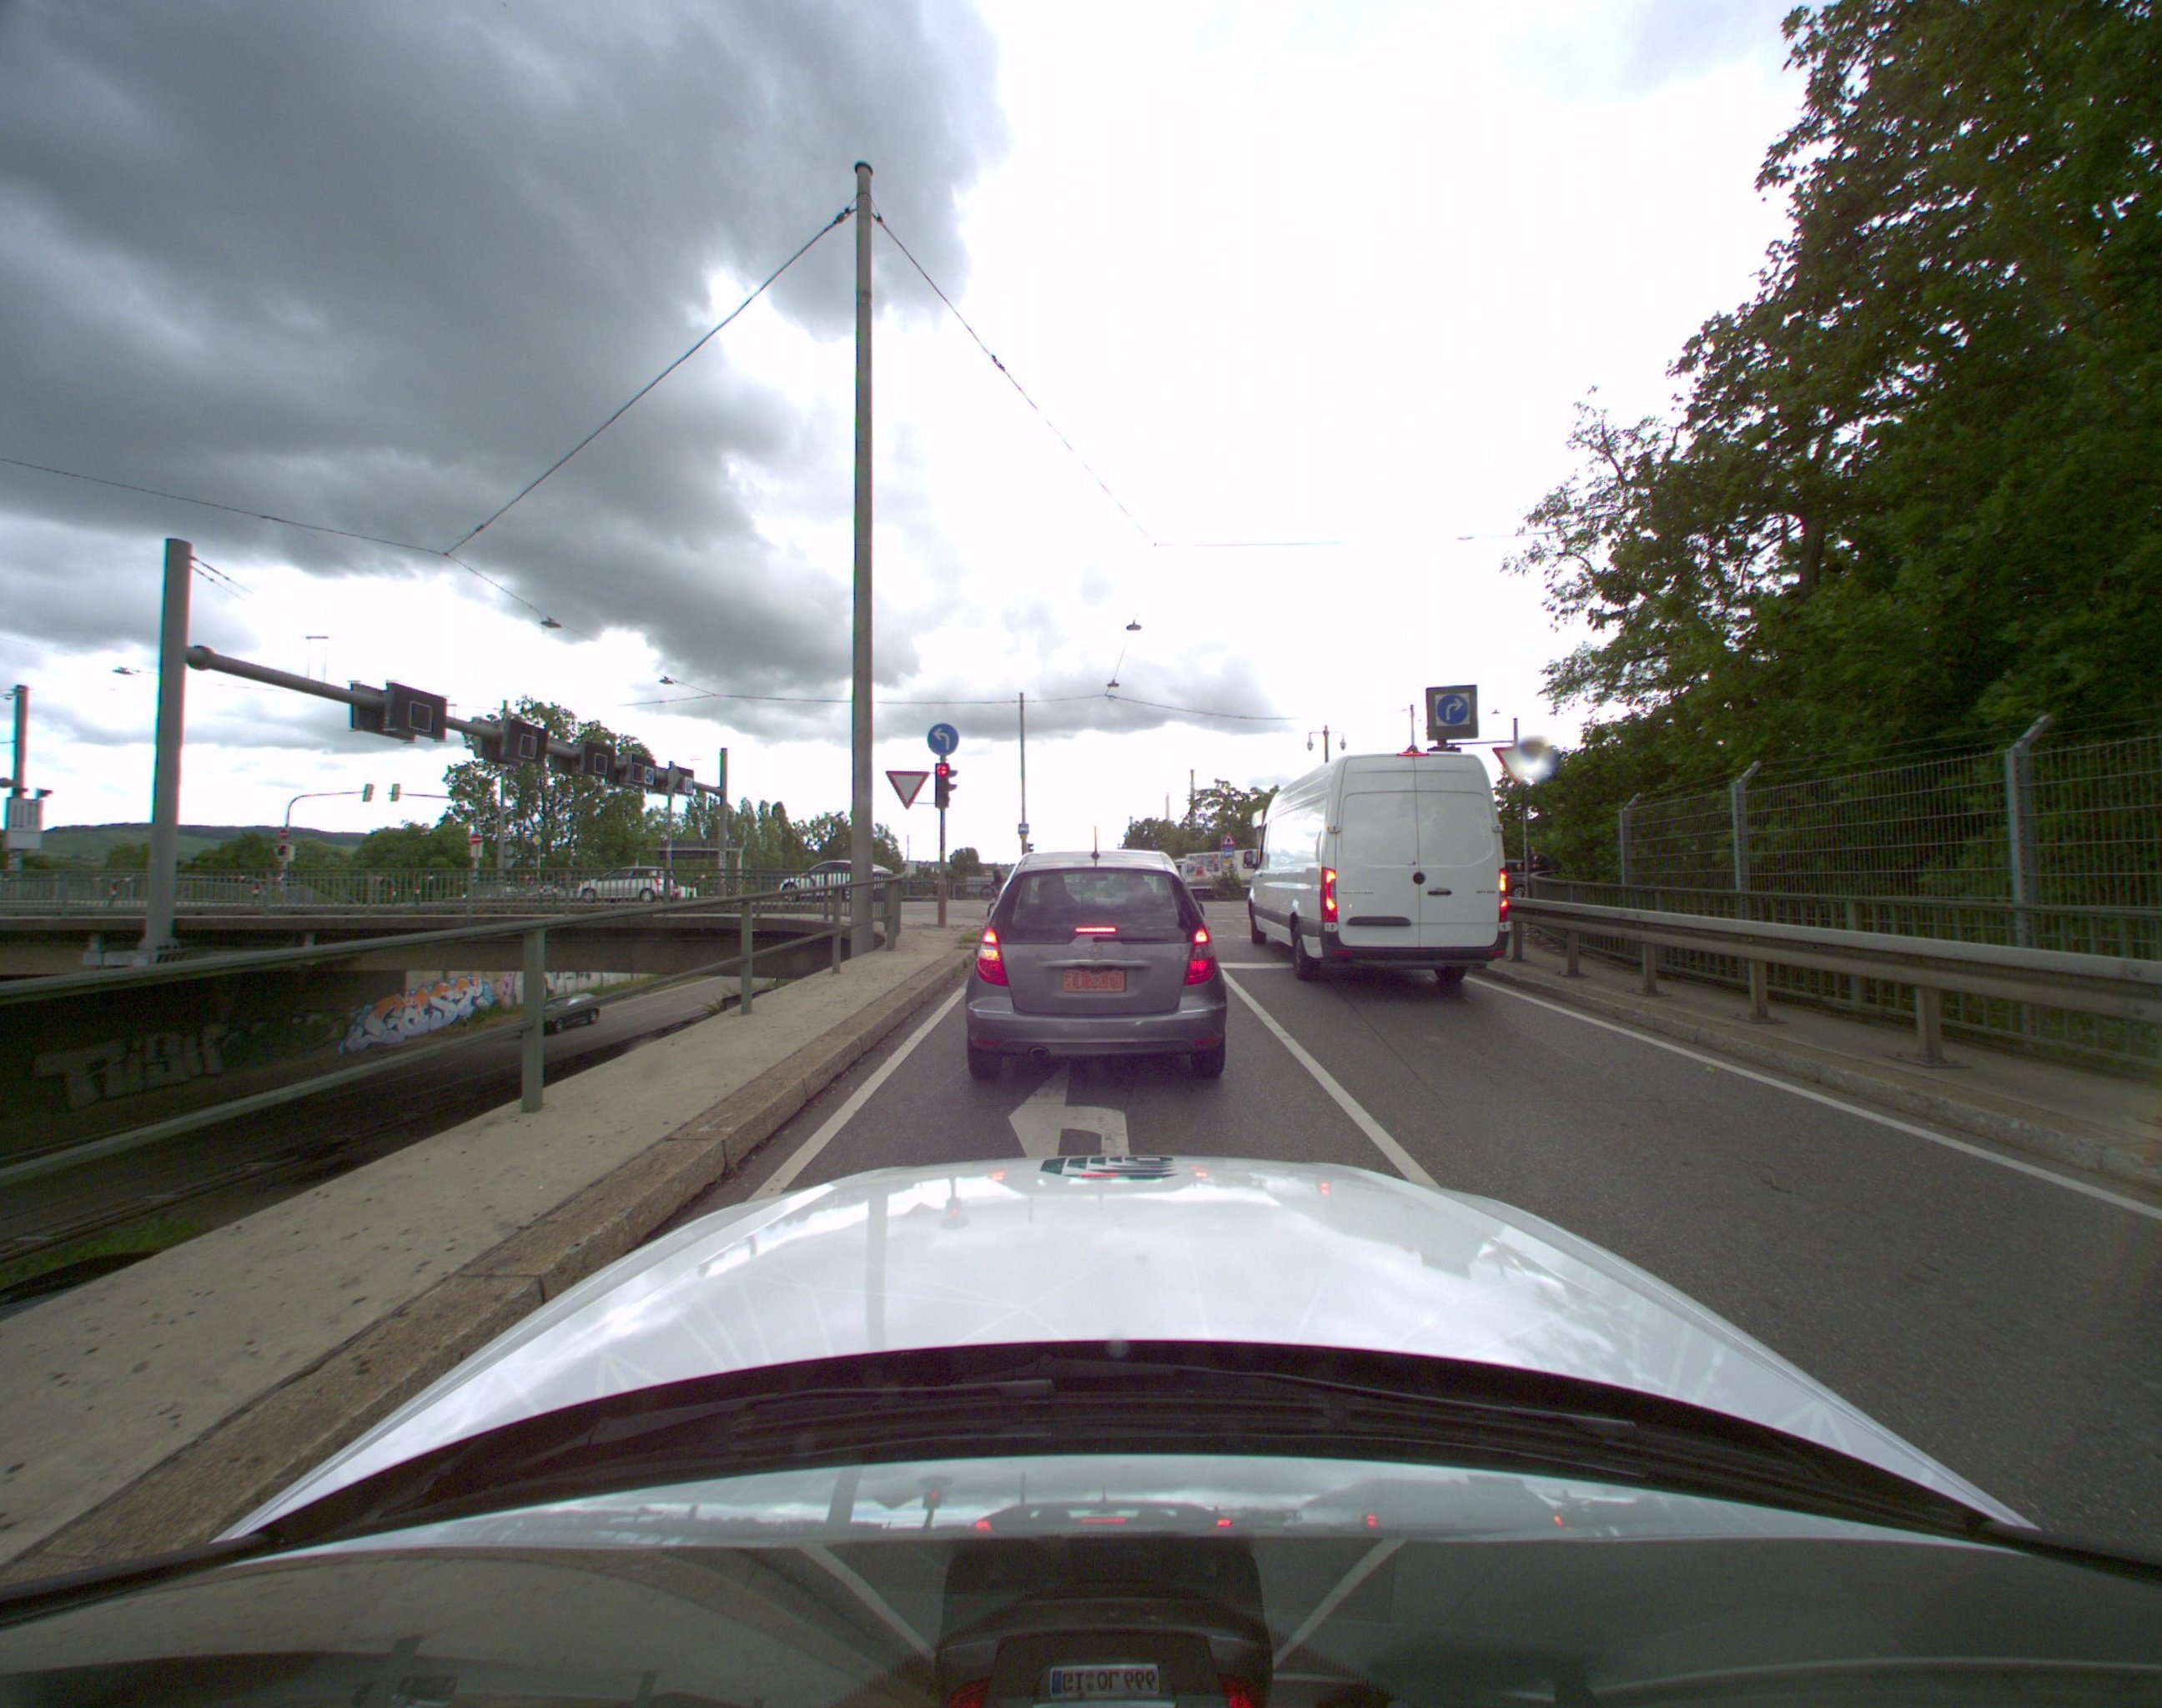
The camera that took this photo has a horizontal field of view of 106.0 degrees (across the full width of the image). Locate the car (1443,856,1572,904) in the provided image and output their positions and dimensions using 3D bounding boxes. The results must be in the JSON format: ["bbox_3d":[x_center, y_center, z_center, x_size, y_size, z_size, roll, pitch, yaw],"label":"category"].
[{"bbox_3d":[16.208,0.978,31.112,3.969,1.665,1.815,-1,0,4],"label":"car"}]

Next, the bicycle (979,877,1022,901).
[{"bbox_3d":[-3.990,1.719,40.308,2.032,1.124,0.926,-1,0,-10],"label":"bicycle"}]

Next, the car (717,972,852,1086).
[{"bbox_3d":[-11.711,6.814,33.010,2.352,3.241,7.662,-2,-3,2],"label":"car"}]

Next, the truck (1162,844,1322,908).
[{"bbox_3d":[9.571,1.238,49.865,2.812,3.518,10.129,-1,0,-39],"label":"truck"}]

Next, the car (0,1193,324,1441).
[{"bbox_3d":[-14.174,6.611,12.064,1.741,1.570,4.223,-1,-3,4],"label":"car"}]

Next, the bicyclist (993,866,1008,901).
[{"bbox_3d":[-3.984,1.433,40.321,0.653,1.673,0.867,-1,0,-9],"label":"bicyclist"}]

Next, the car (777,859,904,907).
[{"bbox_3d":[-9.361,1.124,31.702,4.355,1.717,1.947,-1,0,18],"label":"car"}]

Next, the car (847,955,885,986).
[{"bbox_3d":[-15.398,8.336,58.471,1.837,1.713,4.271,-2,-3,-5],"label":"car"}]

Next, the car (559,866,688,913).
[{"bbox_3d":[-18.058,1.376,32.274,3.970,1.717,1.939,-1,0,3],"label":"car"}]

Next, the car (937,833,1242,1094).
[{"bbox_3d":[0.188,0.658,7.020,1.849,1.588,4.005,-1,1,4],"label":"car"}]

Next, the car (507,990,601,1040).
[{"bbox_3d":[-27.283,8.327,42.368,1.924,1.841,4.411,-2,-2,2],"label":"car"}]

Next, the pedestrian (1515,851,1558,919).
[{"bbox_3d":[11.116,0.744,19.860,0.774,1.619,0.681,-1,0,40],"label":"pedestrian"}]

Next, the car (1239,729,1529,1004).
[{"bbox_3d":[3.770,0.109,11.767,2.101,2.783,6.788,-1,0,4],"label":"car"}]
